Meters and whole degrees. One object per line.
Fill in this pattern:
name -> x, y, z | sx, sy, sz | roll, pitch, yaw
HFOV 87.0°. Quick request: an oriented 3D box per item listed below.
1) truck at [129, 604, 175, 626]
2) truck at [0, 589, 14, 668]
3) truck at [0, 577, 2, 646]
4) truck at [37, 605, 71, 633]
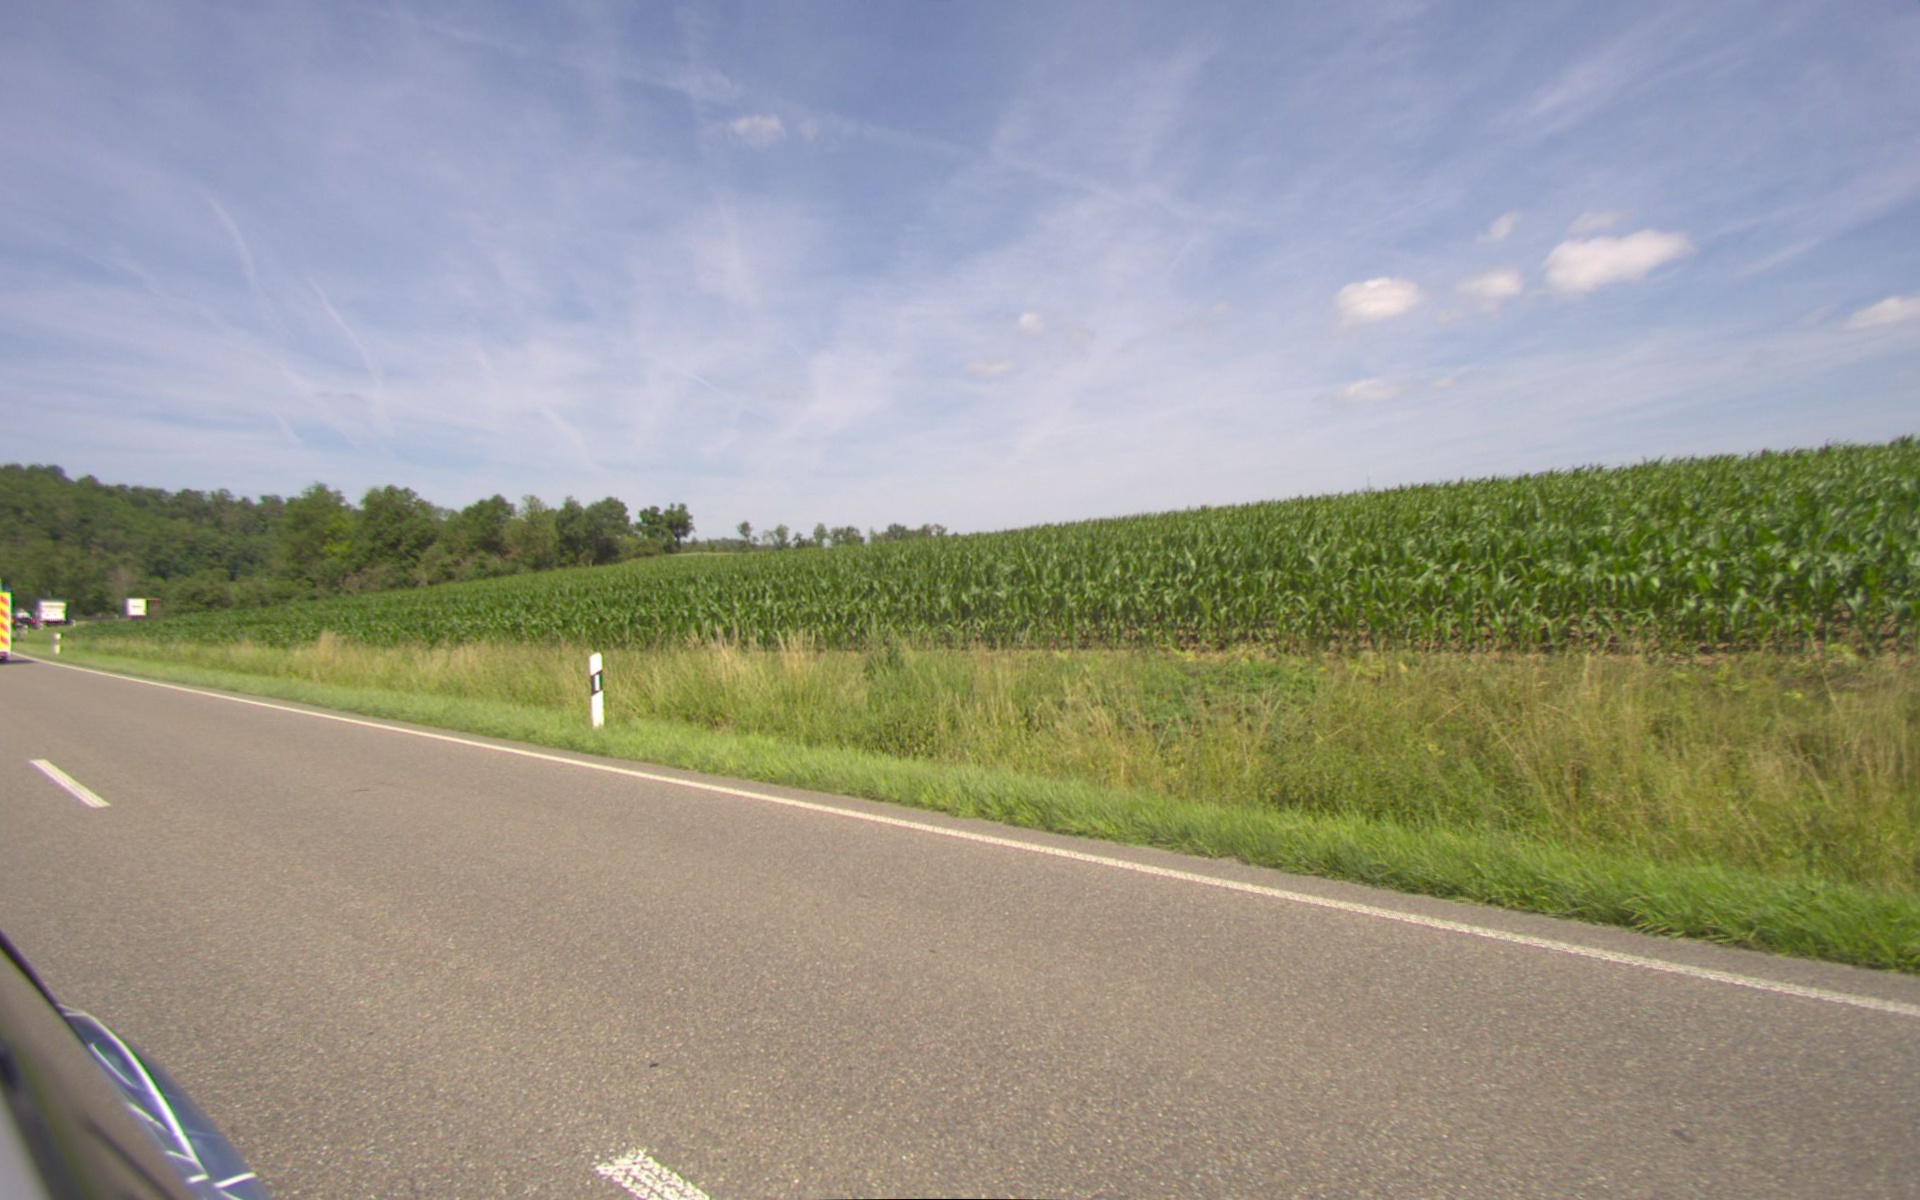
truck -> -157.288, 2.921, 197.298 | 2.732, 4.029, 17.083 | 0, 0, -24
truck -> -35.937, 1.006, 36.415 | 6.414, 2.692, 2.184 | -1, -1, 42
truck -> -62.644, 0.806, 63.891 | 2.794, 4.023, 16.543 | 1, -2, -44
truck -> -124.052, 2.583, 138.689 | 2.705, 3.606, 9.747 | 0, -1, -37
